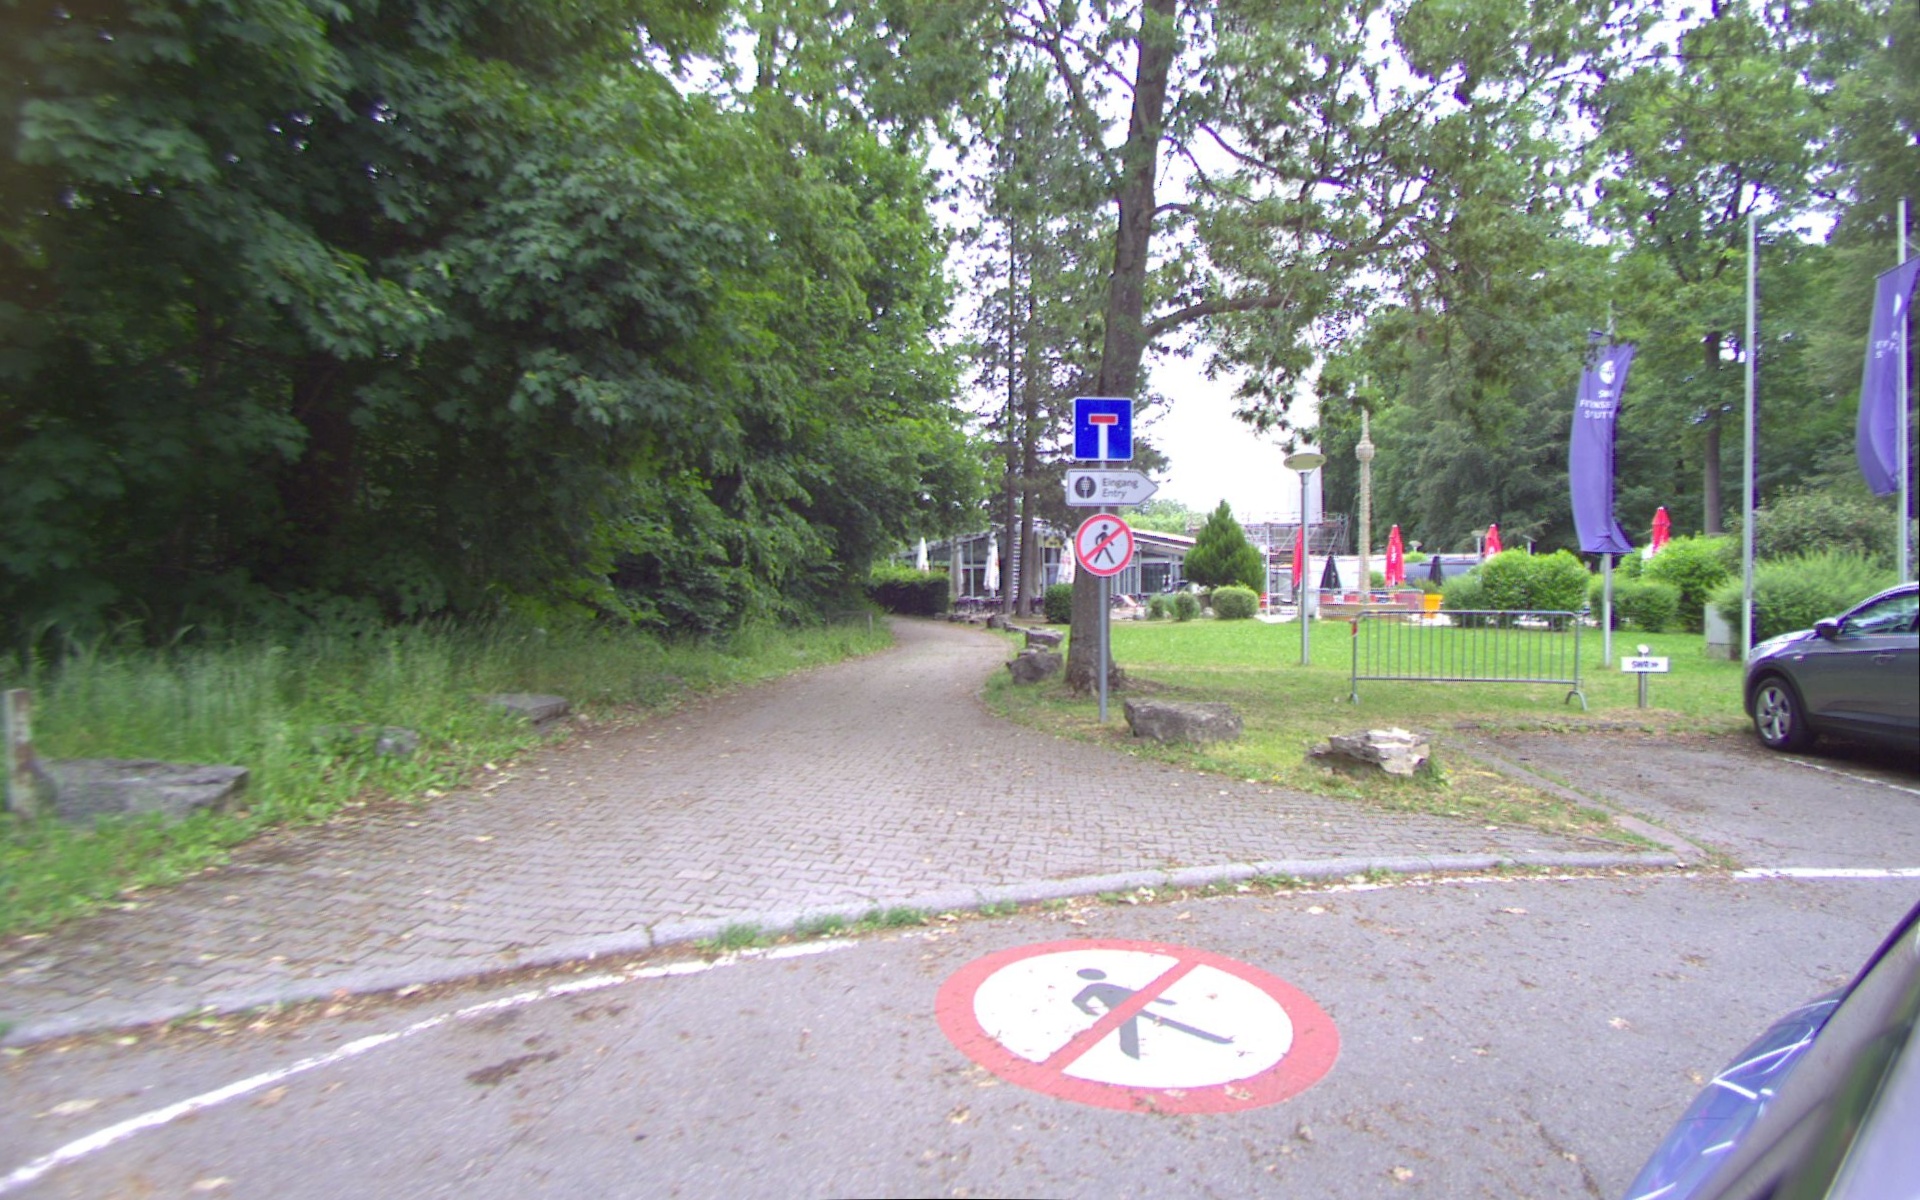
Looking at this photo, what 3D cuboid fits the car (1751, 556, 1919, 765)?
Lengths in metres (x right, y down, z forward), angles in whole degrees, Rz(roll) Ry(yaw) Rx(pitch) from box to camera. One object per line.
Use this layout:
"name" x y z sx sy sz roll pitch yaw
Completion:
"car" 8.311 0.466 7.703 1.868 1.604 3.990 0 1 9
